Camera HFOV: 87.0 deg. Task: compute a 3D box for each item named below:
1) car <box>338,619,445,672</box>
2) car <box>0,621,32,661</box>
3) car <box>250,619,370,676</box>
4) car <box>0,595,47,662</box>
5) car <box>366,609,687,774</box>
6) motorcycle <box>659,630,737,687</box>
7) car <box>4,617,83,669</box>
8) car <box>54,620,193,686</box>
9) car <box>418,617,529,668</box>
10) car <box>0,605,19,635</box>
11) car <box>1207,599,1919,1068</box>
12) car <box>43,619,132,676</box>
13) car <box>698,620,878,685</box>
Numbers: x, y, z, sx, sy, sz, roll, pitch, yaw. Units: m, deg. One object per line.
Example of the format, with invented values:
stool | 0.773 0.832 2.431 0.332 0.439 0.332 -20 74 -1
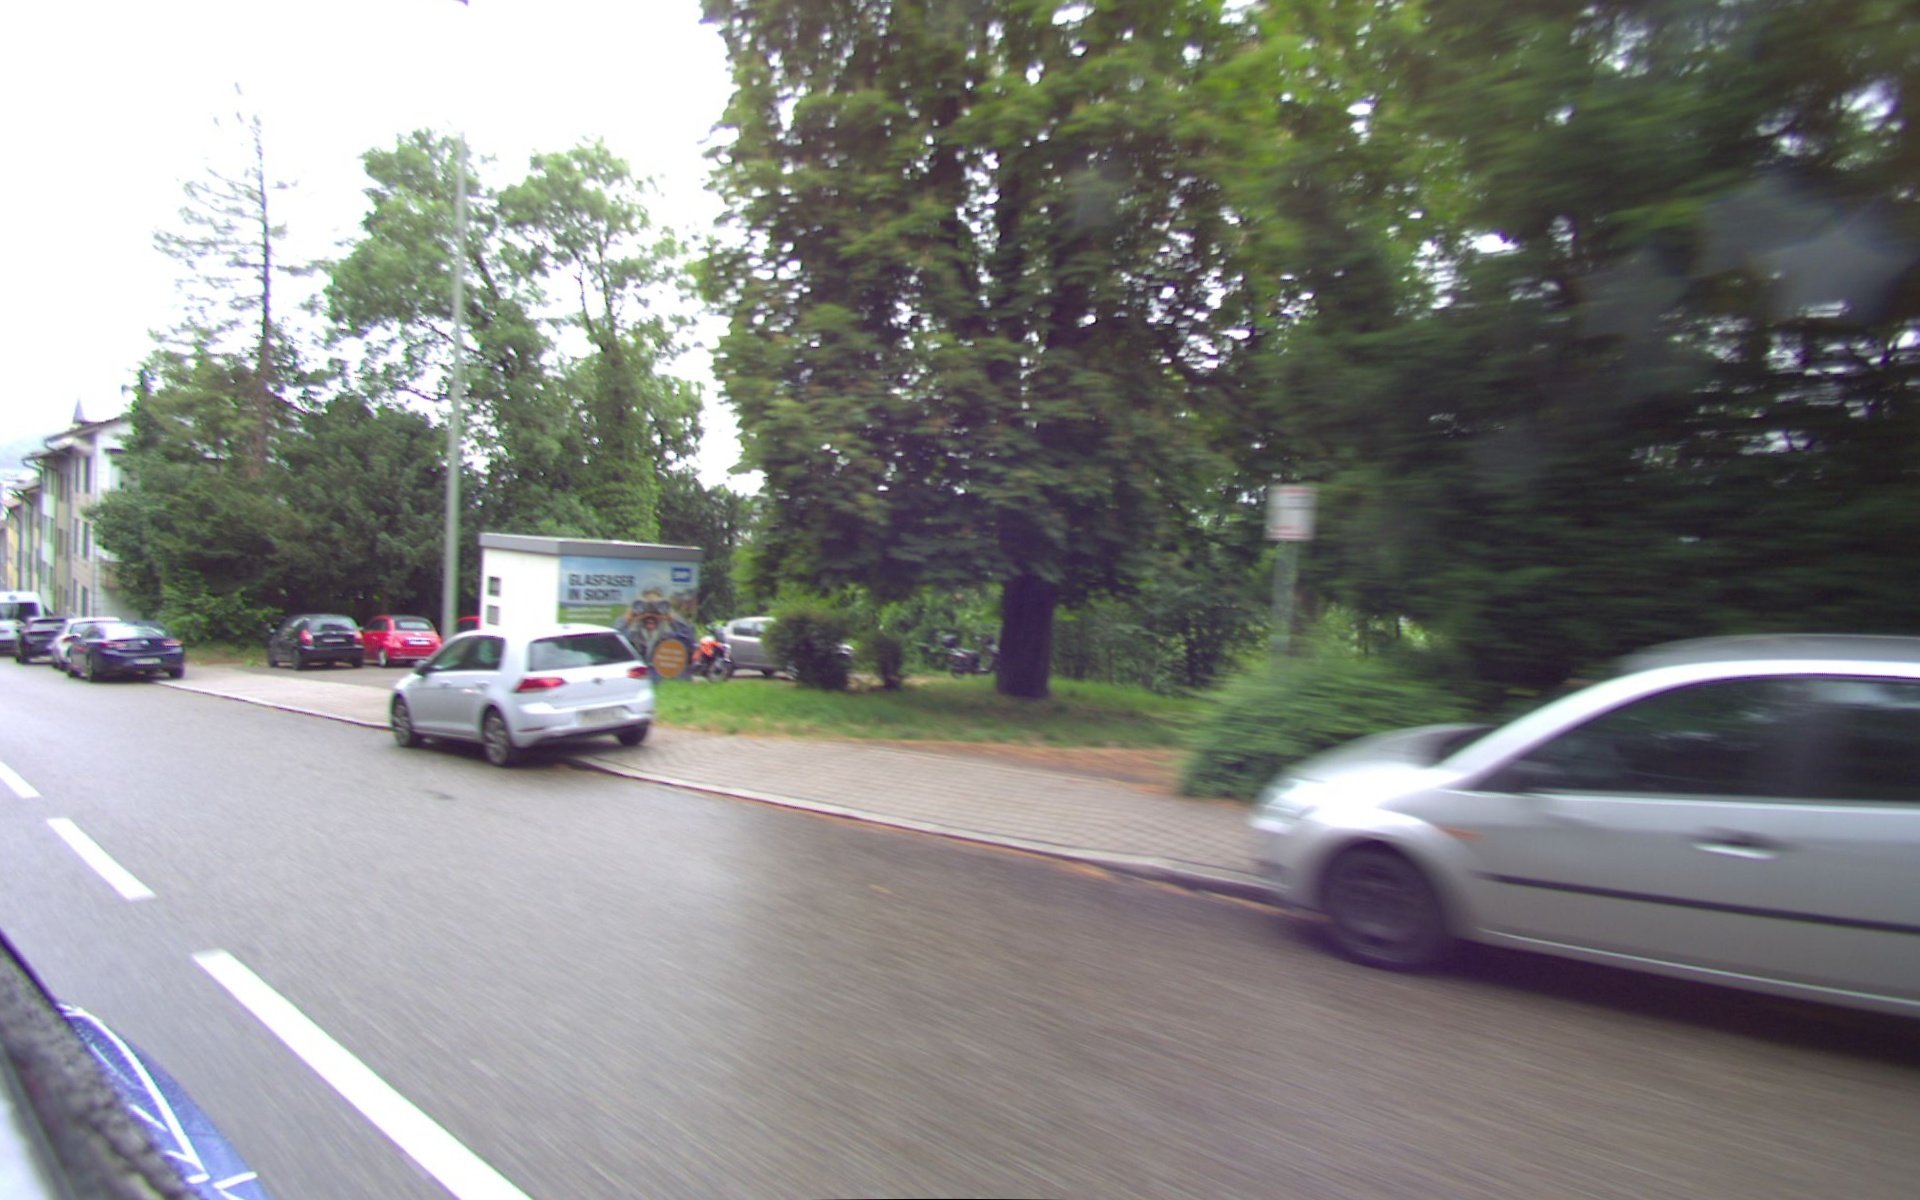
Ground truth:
car | -16.749 1.285 29.774 3.773 1.470 1.604 -1 -2 42
car | -43.172 1.801 45.262 4.883 1.753 1.945 -1 -3 42
car | -18.251 1.279 28.359 4.395 1.470 1.704 -1 -2 42
car | -39.101 1.164 41.397 5.444 2.570 2.093 -1 -4 43
car | -5.308 0.982 12.149 4.237 1.624 1.866 -1 -3 41
motorcycle | -5.885 1.276 22.676 2.278 1.198 0.593 -1 -2 44
car | -30.772 1.427 33.945 4.187 1.616 1.626 -1 -4 44
car | -21.097 1.300 25.451 4.752 1.505 1.840 -1 -5 41
car | -15.103 1.278 31.303 4.240 1.470 1.578 -1 -2 42
car | -84.124 1.766 88.584 5.444 2.570 2.093 -1 -4 43
car | 3.246 0.787 4.332 3.923 1.510 1.610 -1 1 39
car | -26.000 1.374 30.107 4.149 1.581 1.637 -2 -2 44
car | -4.256 1.218 24.776 4.390 1.470 1.926 -1 -1 38
